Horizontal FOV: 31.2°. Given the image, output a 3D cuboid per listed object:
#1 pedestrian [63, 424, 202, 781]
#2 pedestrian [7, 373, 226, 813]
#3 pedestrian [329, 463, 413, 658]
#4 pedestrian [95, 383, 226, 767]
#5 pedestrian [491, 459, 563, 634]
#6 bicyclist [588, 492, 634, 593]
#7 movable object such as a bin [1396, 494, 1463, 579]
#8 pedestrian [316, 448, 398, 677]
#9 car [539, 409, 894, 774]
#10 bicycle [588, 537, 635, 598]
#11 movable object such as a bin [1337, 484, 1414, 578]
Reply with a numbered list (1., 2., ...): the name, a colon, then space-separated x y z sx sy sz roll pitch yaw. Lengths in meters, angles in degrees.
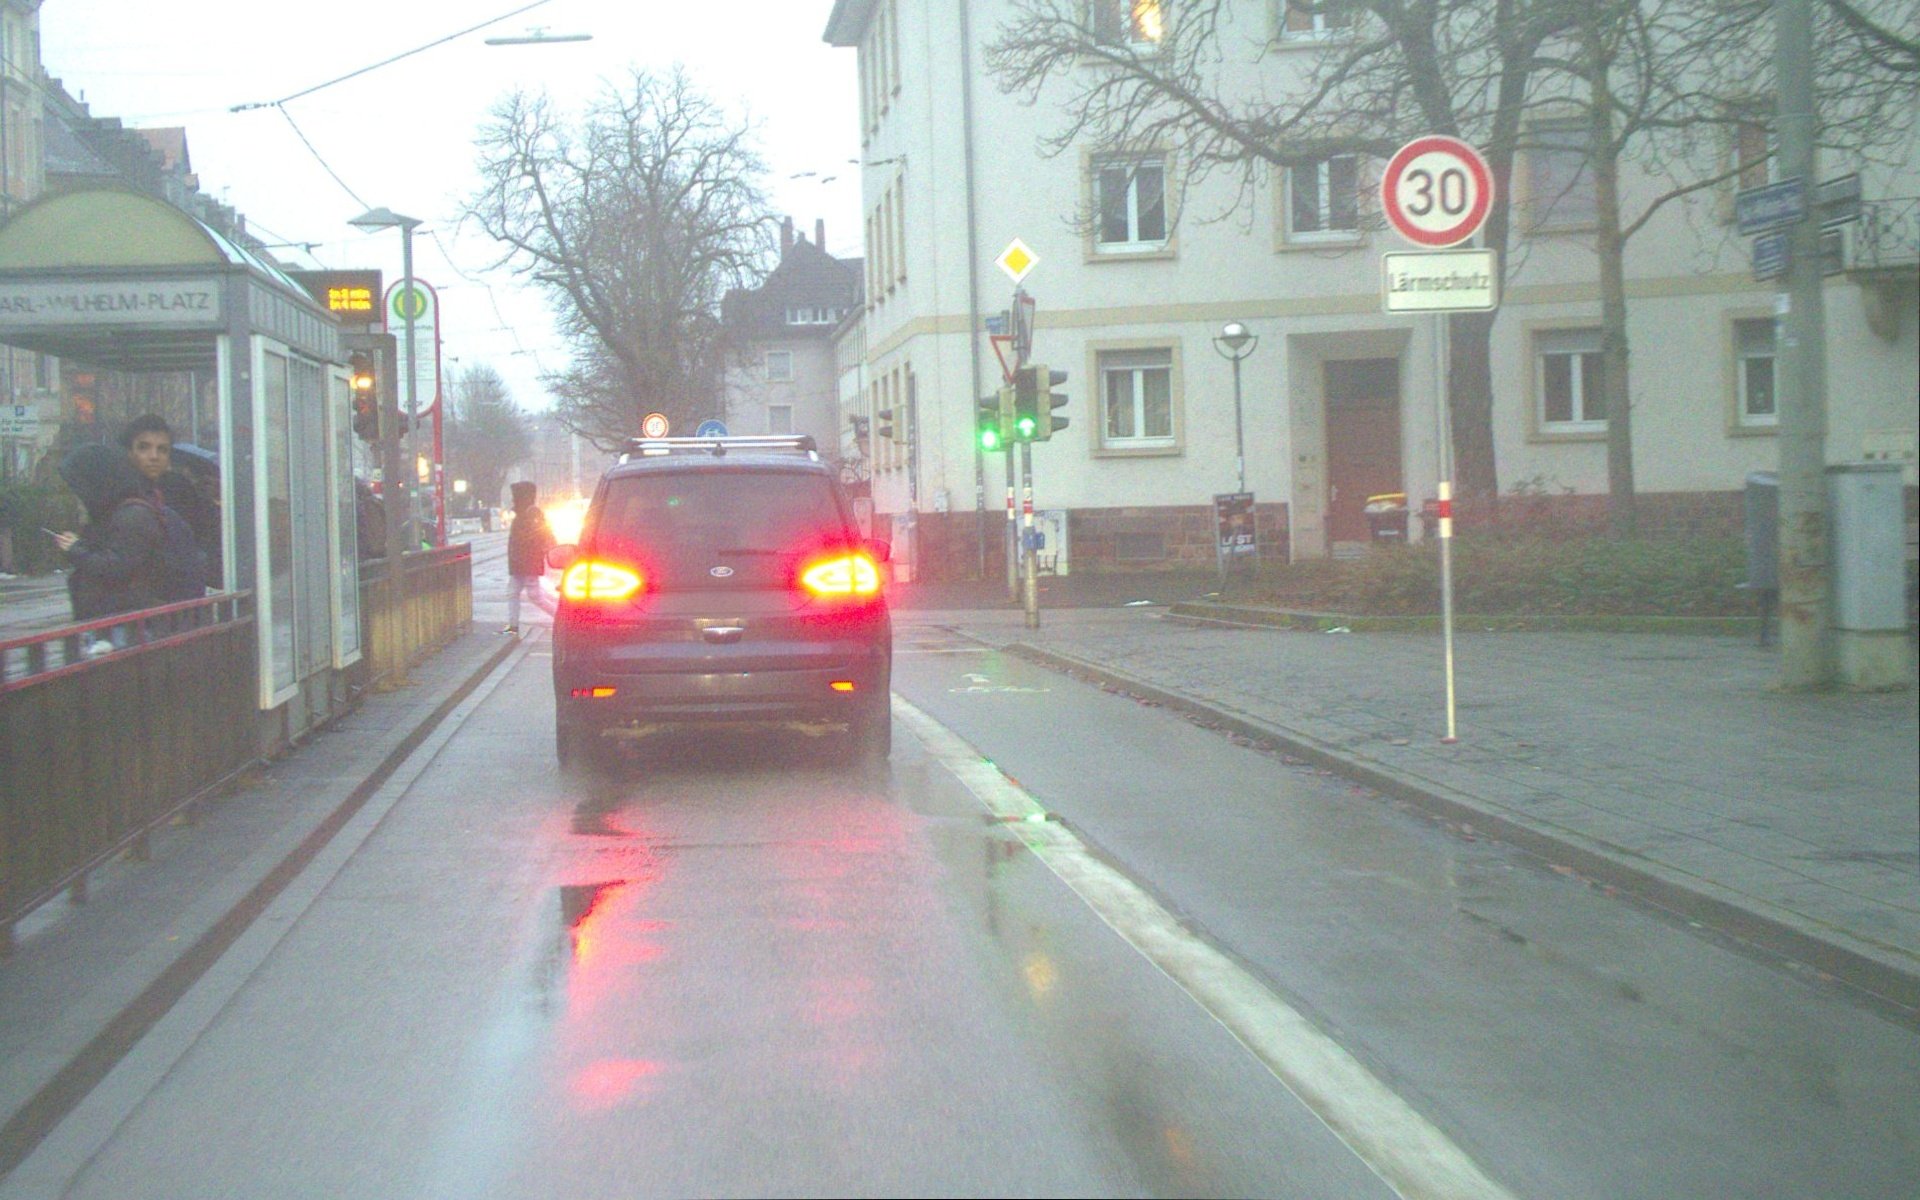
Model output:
1. pedestrian: -4.116 0.006 17.124 0.557 1.735 0.571 1 1 -4
2. pedestrian: -3.829 -0.036 15.648 0.853 1.949 0.571 1 1 -4
3. pedestrian: -5.242 -0.357 30.638 0.657 1.702 0.571 1 1 -4
4. pedestrian: -4.200 -0.136 18.086 0.557 1.980 0.571 1 1 -4
5. pedestrian: -4.809 -0.593 38.157 0.715 1.910 0.689 1 1 -12
6. bicyclist: -6.061 -1.003 59.716 0.730 1.730 0.766 -1 1 -4
7. movable object such as a bin: 6.311 -0.856 46.199 0.700 1.116 0.537 2 2 38
8. pedestrian: -4.823 -0.305 27.512 0.557 1.801 0.571 1 1 -4
9. car: -1.391 -0.096 19.883 1.801 1.864 4.019 1 1 -4
10. bicycle: -6.050 -0.571 59.707 0.731 1.003 1.764 -1 2 -4
11. movable object such as a bin: 5.644 -0.936 46.691 0.853 1.247 0.521 2 2 38
